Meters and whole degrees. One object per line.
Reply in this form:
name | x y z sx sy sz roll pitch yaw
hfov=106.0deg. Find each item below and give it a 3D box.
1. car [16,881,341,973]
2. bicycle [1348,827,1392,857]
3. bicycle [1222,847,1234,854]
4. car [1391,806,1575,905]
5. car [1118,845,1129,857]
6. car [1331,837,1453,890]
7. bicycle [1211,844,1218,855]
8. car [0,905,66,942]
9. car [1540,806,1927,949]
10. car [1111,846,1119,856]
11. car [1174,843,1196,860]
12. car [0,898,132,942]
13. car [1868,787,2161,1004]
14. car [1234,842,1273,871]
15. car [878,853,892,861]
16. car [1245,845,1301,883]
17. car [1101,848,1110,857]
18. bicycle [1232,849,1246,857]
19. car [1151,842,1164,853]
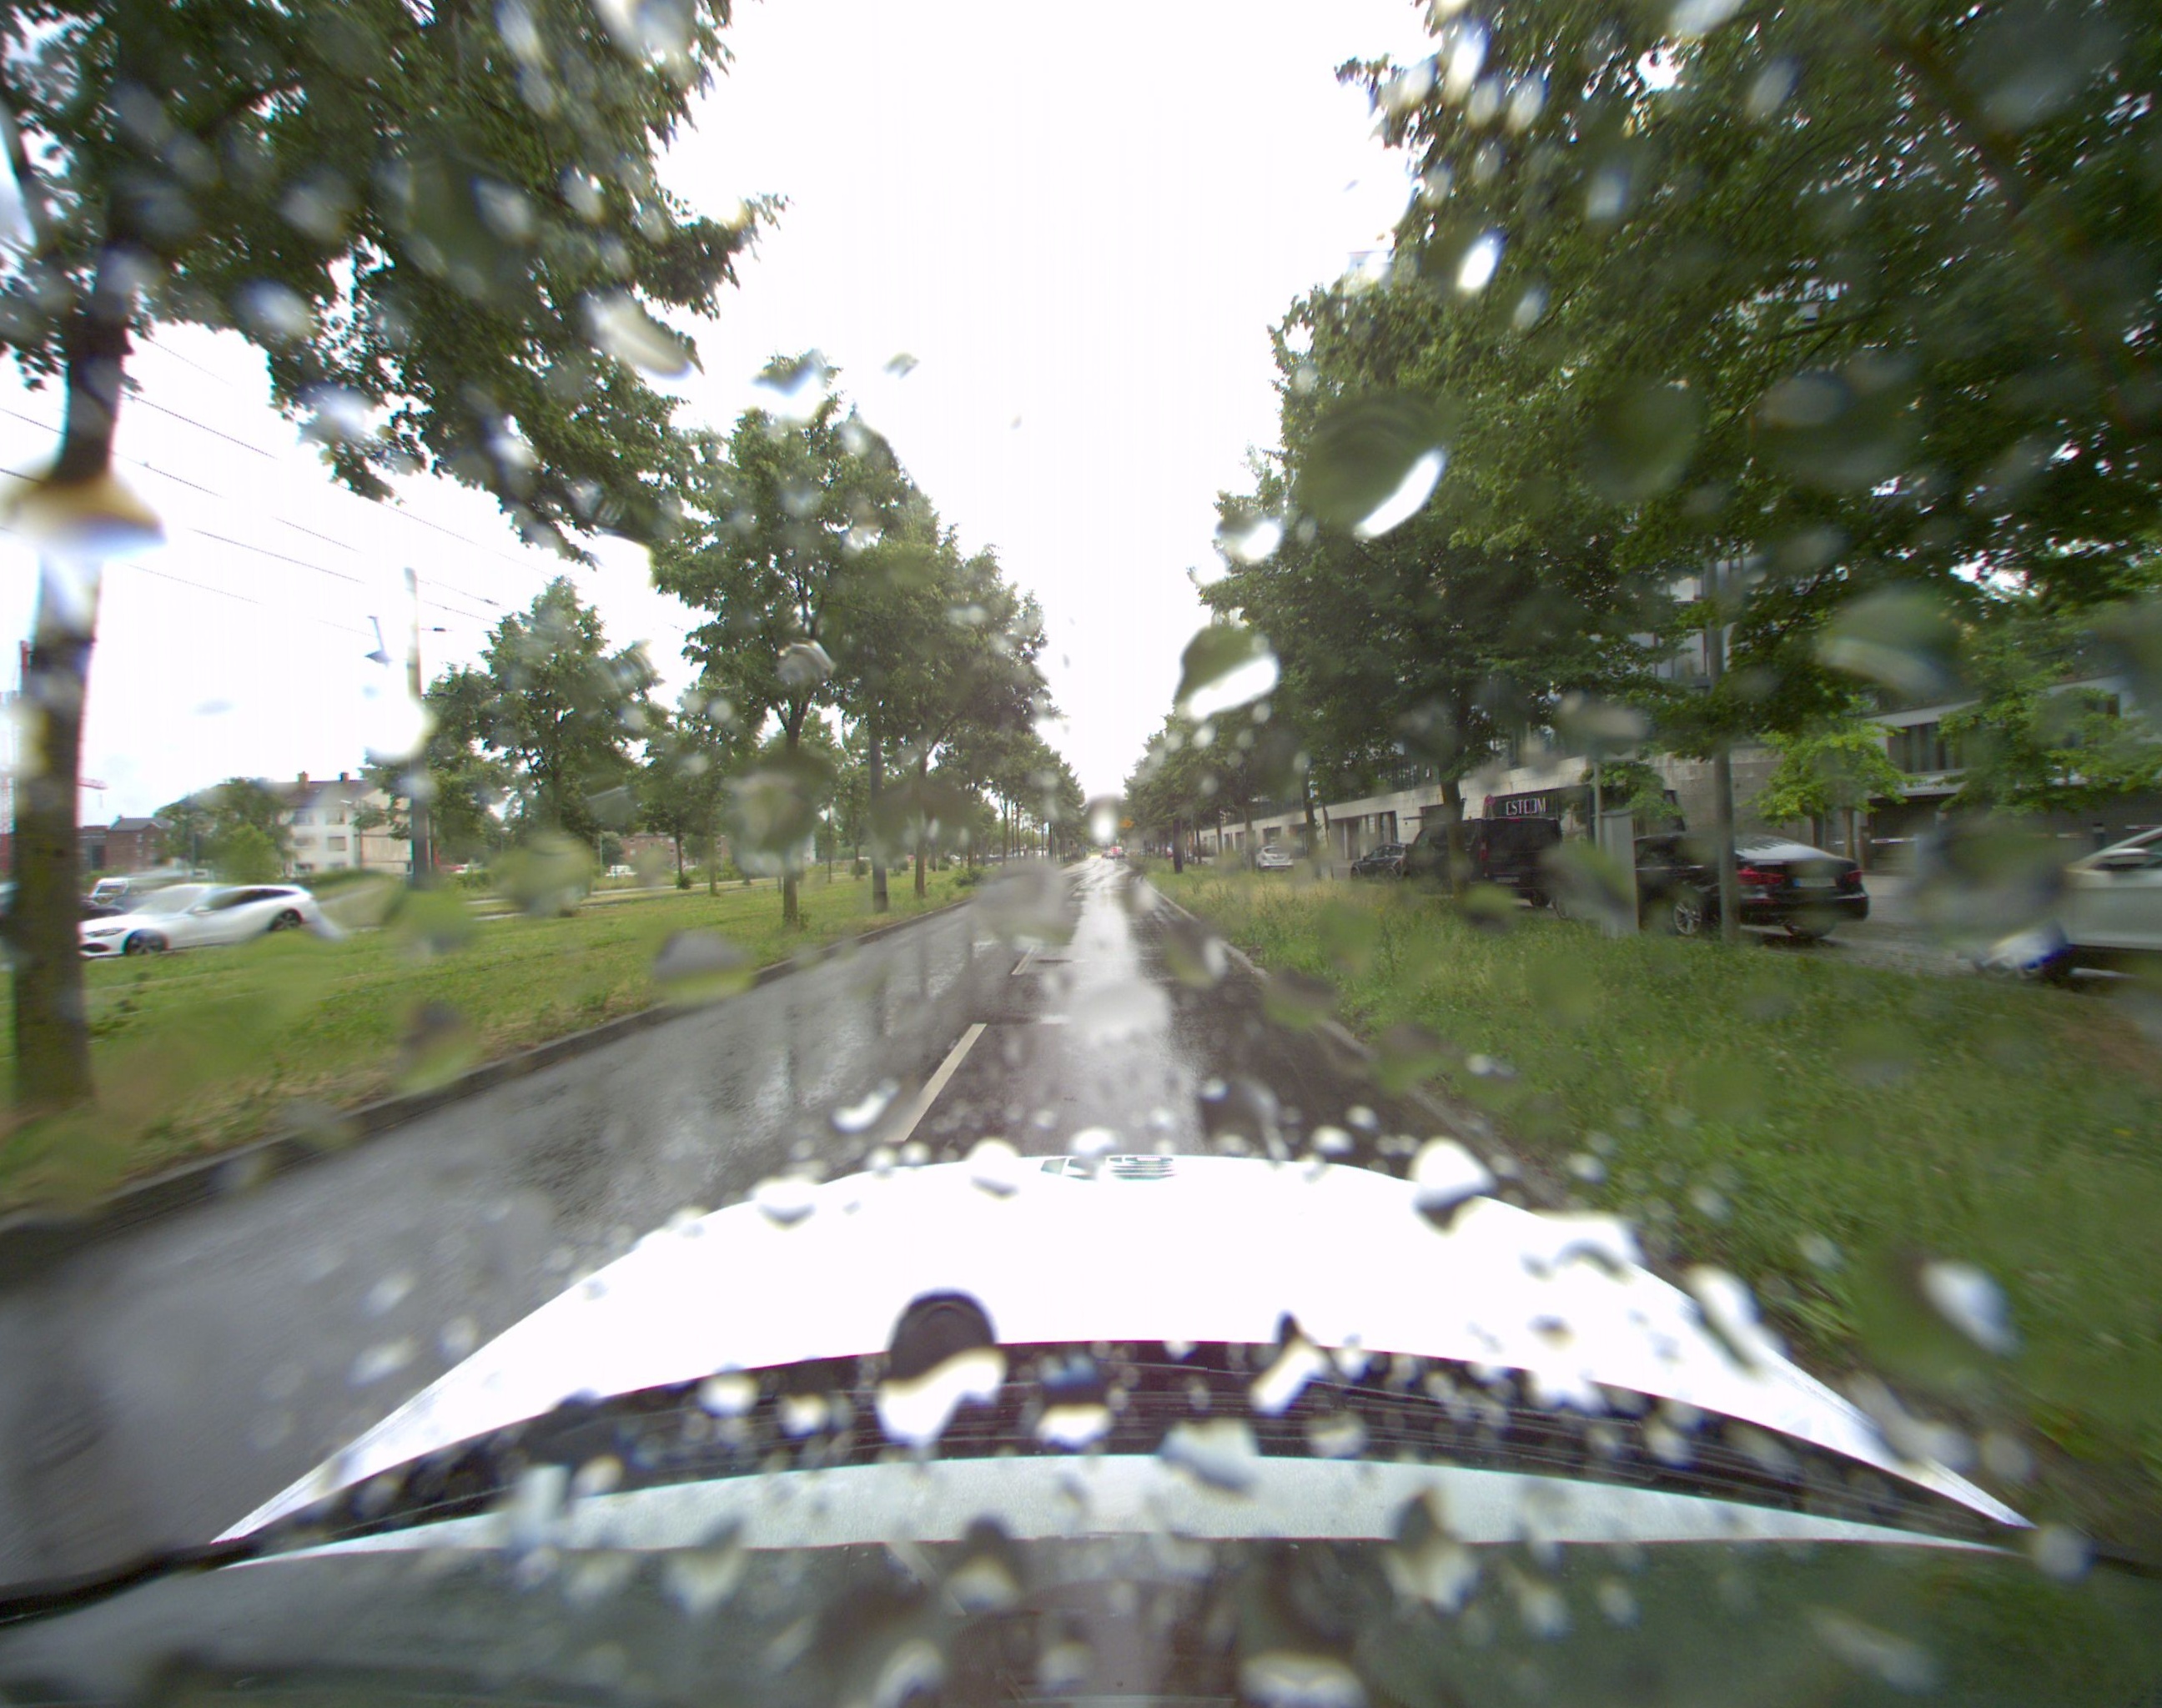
car | -20.770 1.579 19.169 1.941 1.460 4.839 -2 2 5
bicycle | 19.549 -0.813 55.188 2.666 1.860 0.708 -2 0 6
bicycle | 21.808 -0.504 120.874 1.686 1.028 0.423 -2 0 4
car | 9.236 -0.077 19.294 1.986 1.952 5.032 -2 2 2
car | 7.799 -0.614 150.806 1.933 2.013 4.003 -2 2 2
car | 9.920 0.277 26.410 1.953 1.513 4.475 -2 0 -5
bicycle | 22.686 -0.849 138.675 0.769 1.722 3.122 -2 2 1
car | -43.027 2.847 32.107 1.371 1.239 3.490 -2 2 5
car | 9.304 0.228 12.343 1.986 1.669 4.961 -2 1 2
car | 7.597 -0.714 182.002 1.881 2.013 4.003 -2 2 2
car | 11.407 -0.301 89.646 1.874 1.505 4.727 -2 2 2
car | -40.121 2.565 31.852 1.493 1.239 3.665 -2 2 5
car | 9.291 0.281 6.243 1.986 1.669 4.725 -2 1 1
car | 10.255 0.108 48.620 1.619 1.490 3.658 -2 2 2
car | -54.079 0.813 224.347 3.546 1.738 1.694 -3 2 -23
car | 10.283 0.491 43.881 1.986 1.668 4.727 -2 2 2
car | 5.999 -0.413 201.559 1.985 2.013 4.005 -2 2 4
bicycle | 22.150 -0.084 114.099 1.798 1.028 0.402 -2 0 3
car | 12.946 -1.174 138.608 1.899 1.791 4.690 -2 0 2
